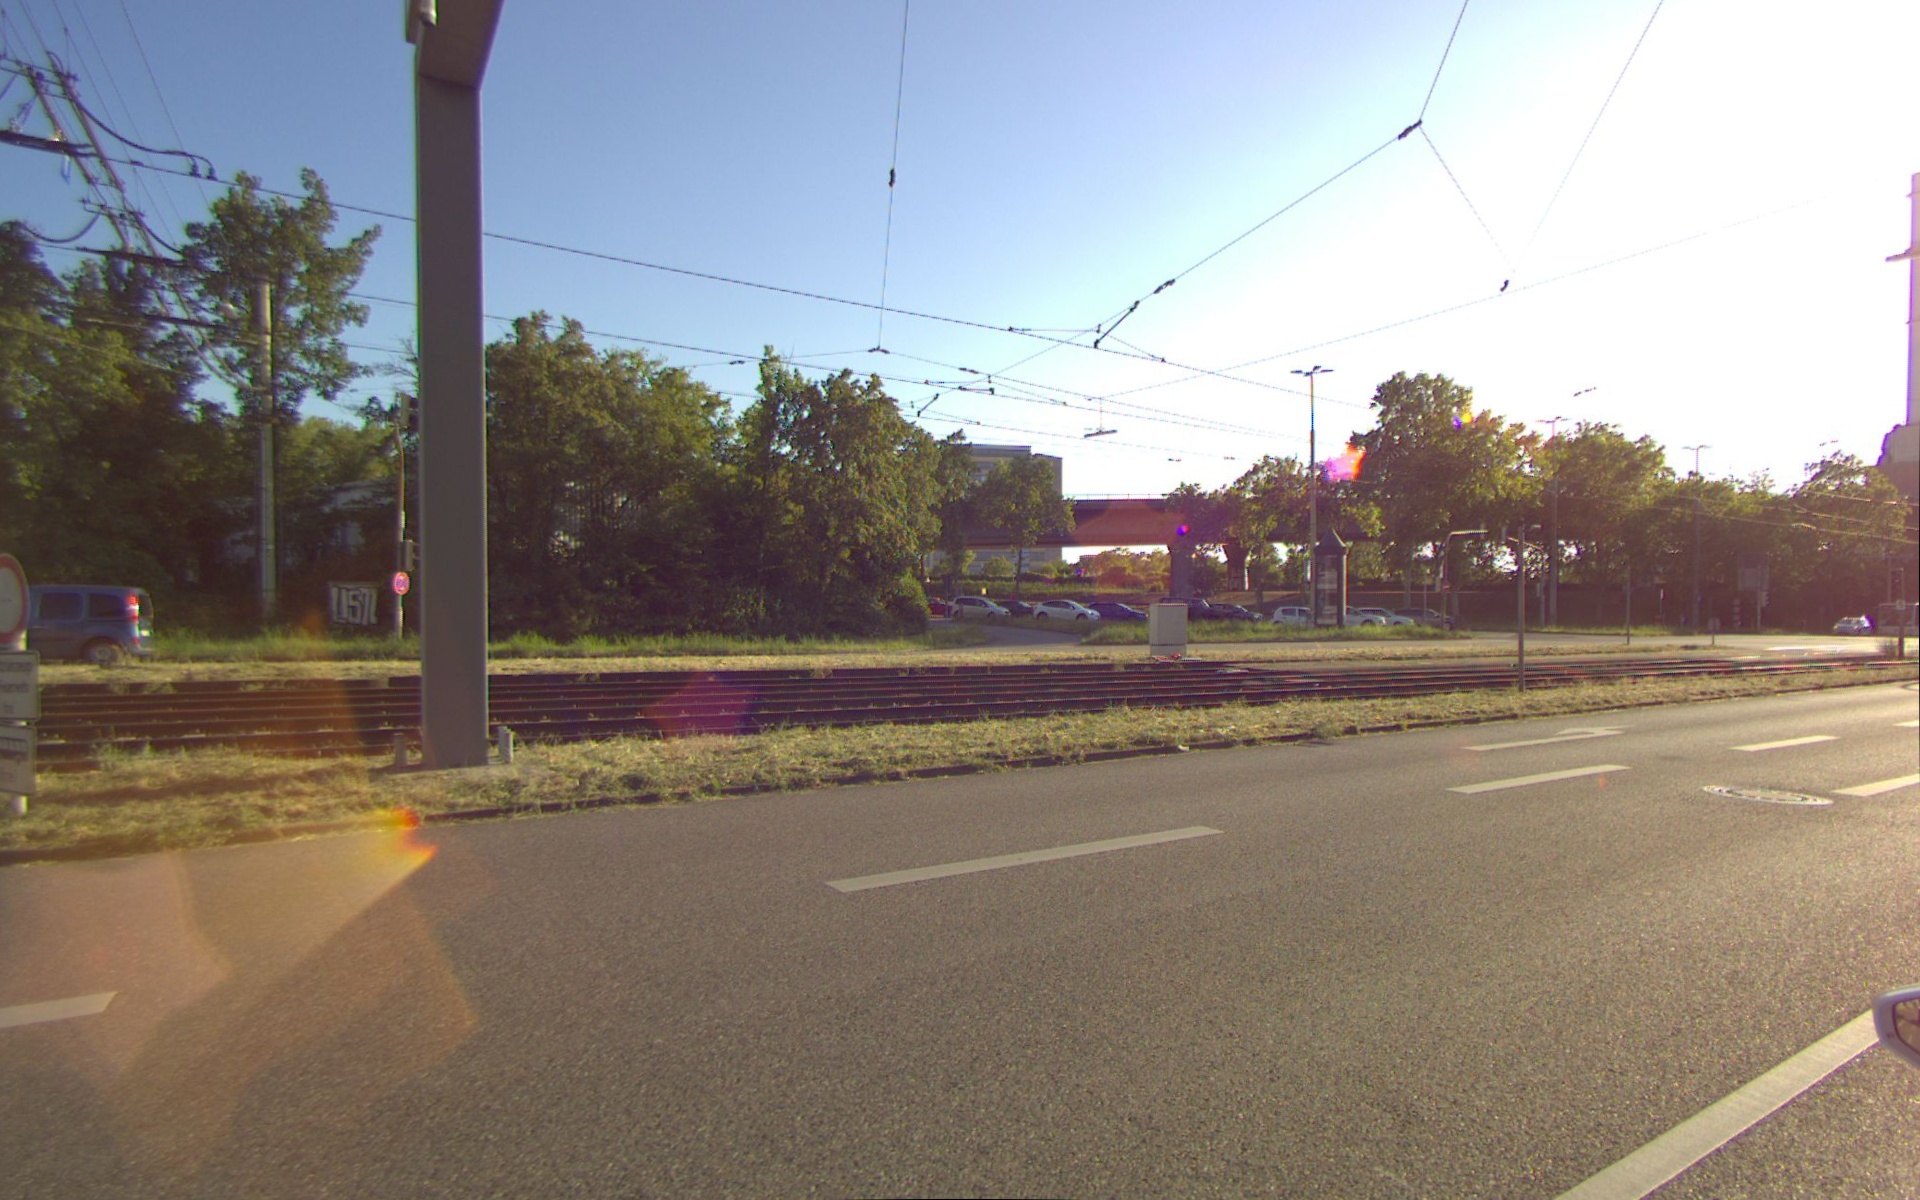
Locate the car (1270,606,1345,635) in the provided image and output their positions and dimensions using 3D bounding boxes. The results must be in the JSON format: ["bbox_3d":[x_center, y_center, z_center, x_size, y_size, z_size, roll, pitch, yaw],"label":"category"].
[{"bbox_3d":[20.740,1.221,60.031,3.931,1.596,1.689,1,0,32],"label":"car"}]

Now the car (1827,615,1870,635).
[{"bbox_3d":[70.287,1.969,79.470,3.967,1.532,1.596,1,1,-34],"label":"car"}]

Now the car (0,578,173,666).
[{"bbox_3d":[-19.906,0.456,21.771,4.208,1.811,1.924,0,0,-30],"label":"car"}]

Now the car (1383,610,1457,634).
[{"bbox_3d":[30.348,1.427,66.248,4.363,1.423,1.668,1,1,28],"label":"car"}]

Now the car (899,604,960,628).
[{"bbox_3d":[-2.300,1.202,76.326,4.330,1.701,1.692,1,1,24],"label":"car"}]

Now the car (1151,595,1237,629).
[{"bbox_3d":[14.697,0.715,63.125,4.853,2.018,2.034,1,0,28],"label":"car"}]

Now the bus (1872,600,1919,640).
[{"bbox_3d":[83.740,1.844,87.600,12.766,3.171,2.531,2,-1,-30],"label":"bus"}]

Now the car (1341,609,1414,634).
[{"bbox_3d":[26.731,1.344,64.409,4.122,1.423,1.667,1,1,31],"label":"car"}]

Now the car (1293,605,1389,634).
[{"bbox_3d":[23.504,1.192,62.080,5.278,1.596,1.735,1,0,35],"label":"car"}]

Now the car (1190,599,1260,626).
[{"bbox_3d":[17.369,0.804,65.868,4.175,1.596,1.690,1,0,31],"label":"car"}]

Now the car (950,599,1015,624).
[{"bbox_3d":[1.578,0.774,70.424,4.208,1.653,1.691,1,0,28],"label":"car"}]

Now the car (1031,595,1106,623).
[{"bbox_3d":[7.285,0.571,67.484,4.681,1.596,1.690,3,3,29],"label":"car"}]

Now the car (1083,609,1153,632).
[{"bbox_3d":[10.980,1.416,69.964,4.540,1.478,1.691,1,1,27],"label":"car"}]
